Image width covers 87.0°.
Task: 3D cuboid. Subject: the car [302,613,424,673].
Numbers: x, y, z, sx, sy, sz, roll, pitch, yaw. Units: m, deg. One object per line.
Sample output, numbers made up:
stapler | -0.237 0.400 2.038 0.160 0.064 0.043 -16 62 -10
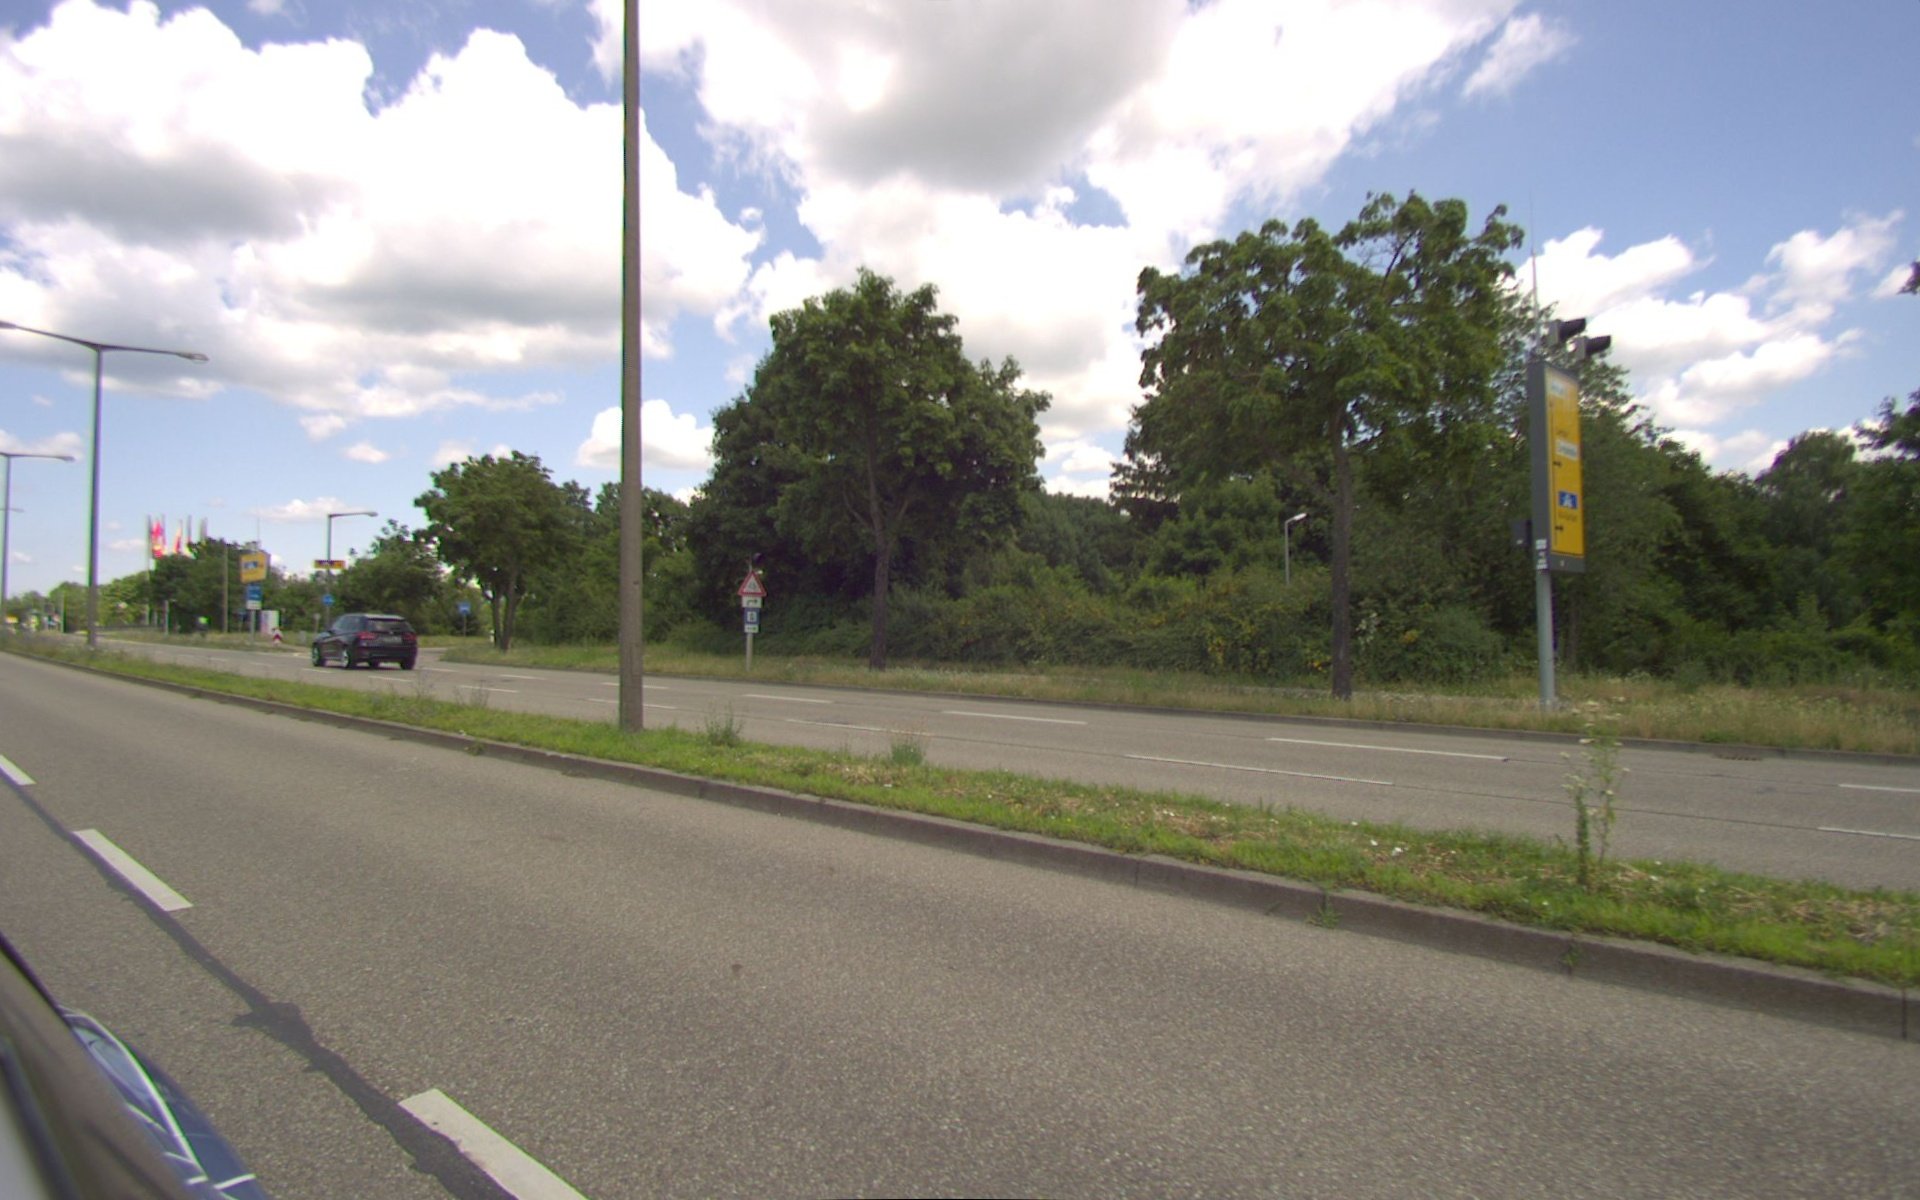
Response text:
car | -19.239 1.366 32.529 4.725 1.804 1.857 -1 -4 40

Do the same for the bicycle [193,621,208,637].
bicycle | -53.150 2.065 70.815 1.906 1.076 0.427 -3 -2 40

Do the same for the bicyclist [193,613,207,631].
bicyclist | -53.229 1.544 70.884 1.106 1.282 0.515 -3 -2 40
